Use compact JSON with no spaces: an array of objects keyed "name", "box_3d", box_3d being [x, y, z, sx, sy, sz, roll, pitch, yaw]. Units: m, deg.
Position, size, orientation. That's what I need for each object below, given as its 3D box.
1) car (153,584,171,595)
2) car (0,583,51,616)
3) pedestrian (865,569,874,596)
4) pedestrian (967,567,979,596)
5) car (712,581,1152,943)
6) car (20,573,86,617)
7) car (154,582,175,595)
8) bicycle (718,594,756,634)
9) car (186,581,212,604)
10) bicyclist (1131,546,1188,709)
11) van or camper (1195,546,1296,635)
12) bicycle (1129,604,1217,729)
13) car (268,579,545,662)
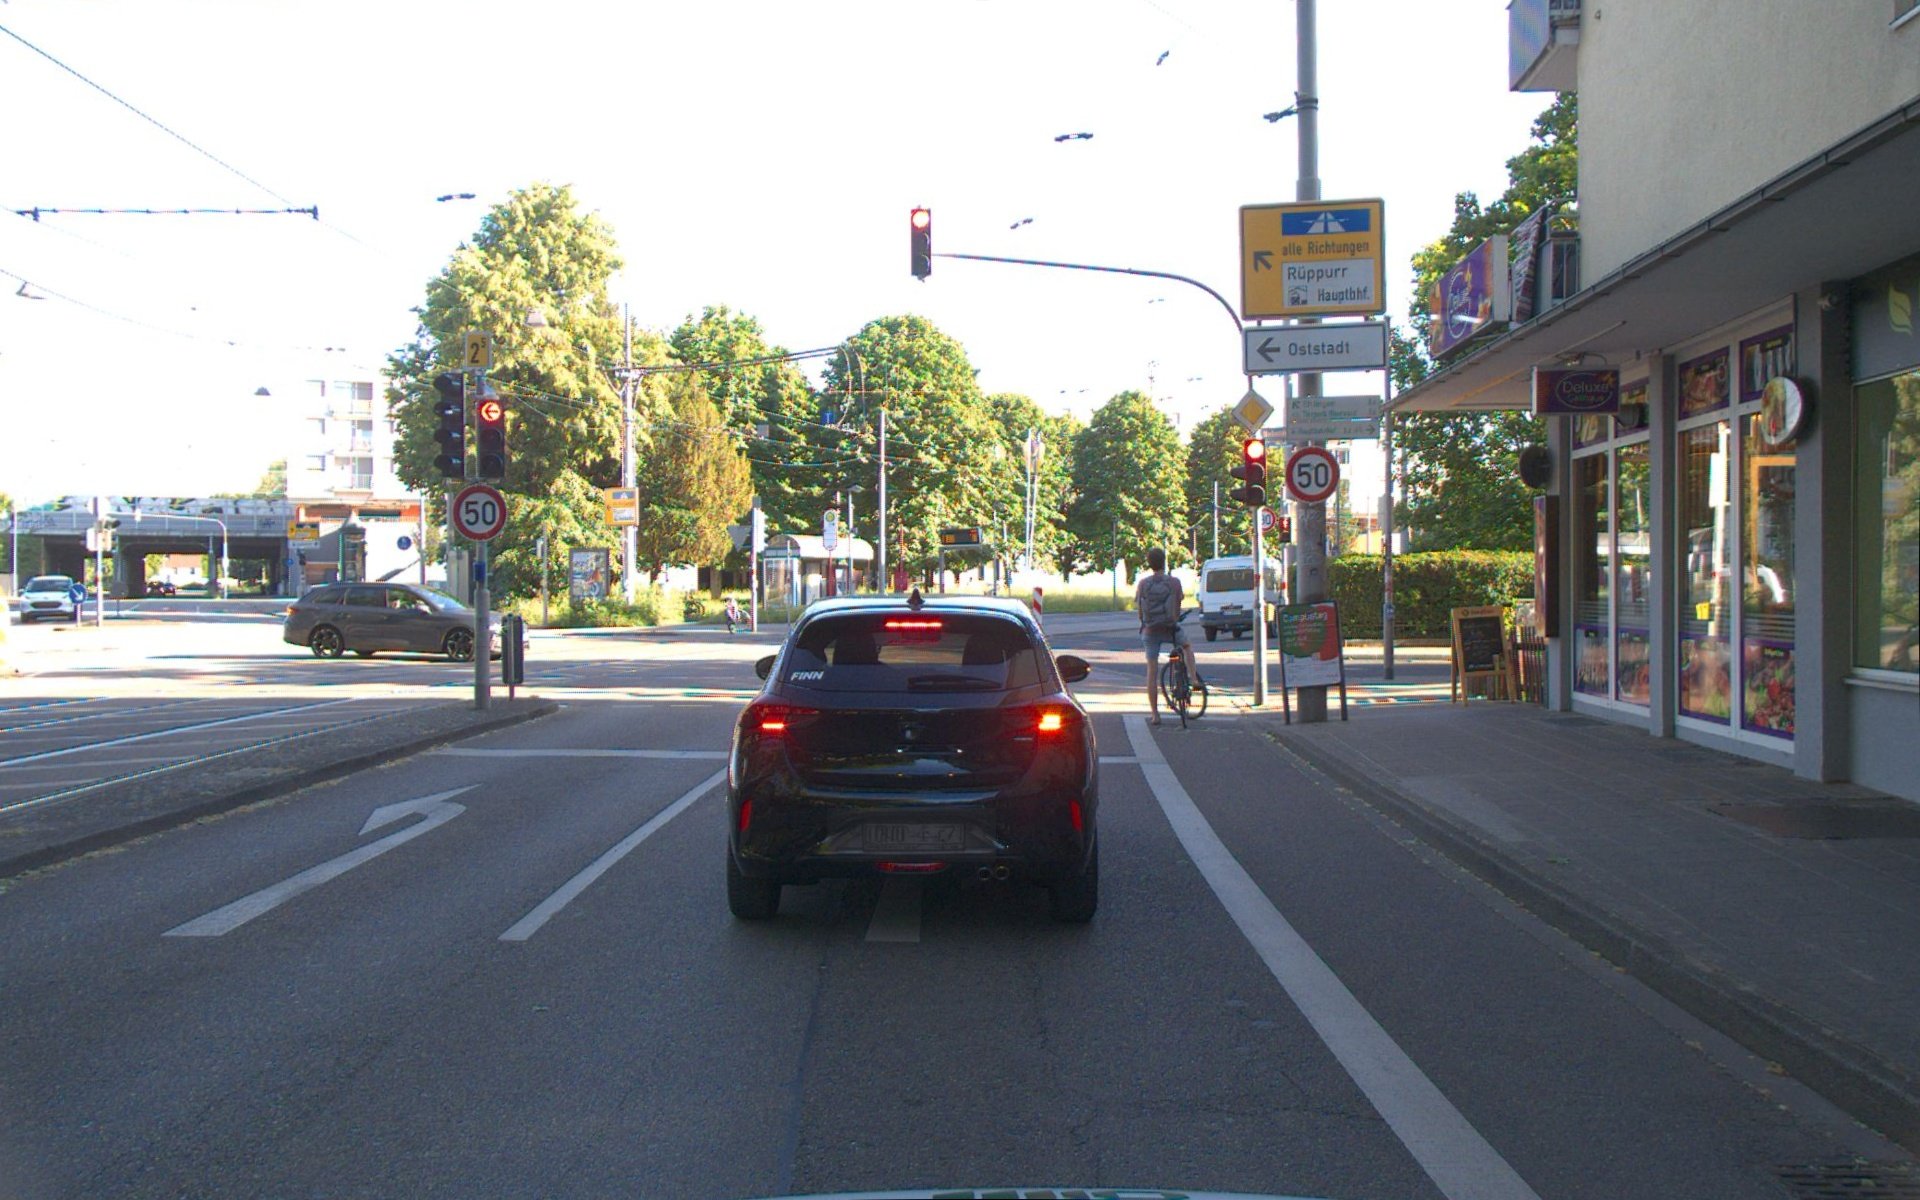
[{"name":"car","box_3d":[-91.433,-1.209,189.482,1.562,1.282,3.394,-1,1,-30]},{"name":"car","box_3d":[-47.438,-0.007,83.995,1.860,1.613,3.809,1,0,-24]},{"name":"pedestrian","box_3d":[-6.612,-1.272,120.924,0.592,1.904,0.519,1,-1,-7]},{"name":"pedestrian","box_3d":[0.819,-1.197,107.761,0.596,1.904,0.515,1,-1,-27]},{"name":"car","box_3d":[-0.140,0.646,8.792,1.803,1.487,3.983,0,1,-1]},{"name":"car","box_3d":[-35.006,-0.196,63.895,1.860,1.613,3.809,1,0,-24]},{"name":"car","box_3d":[-78.883,-1.133,163.983,1.562,1.282,3.394,-1,1,-30]},{"name":"bicycle","box_3d":[-6.220,0.376,46.164,0.780,1.083,2.184,0,1,-1]},{"name":"car","box_3d":[-59.236,-0.564,128.772,1.732,1.713,3.712,1,0,-25]},{"name":"bicyclist","box_3d":[2.151,0.290,17.820,0.522,1.722,0.568,0,0,16]},{"name":"van or camper","box_3d":[8.064,-0.234,46.380,1.987,2.351,4.540,1,0,20]},{"name":"bicycle","box_3d":[2.340,0.685,17.994,0.737,1.256,2.017,0,1,14]},{"name":"car","box_3d":[-10.550,0.370,31.709,4.626,1.499,1.941,0,1,4]}]
